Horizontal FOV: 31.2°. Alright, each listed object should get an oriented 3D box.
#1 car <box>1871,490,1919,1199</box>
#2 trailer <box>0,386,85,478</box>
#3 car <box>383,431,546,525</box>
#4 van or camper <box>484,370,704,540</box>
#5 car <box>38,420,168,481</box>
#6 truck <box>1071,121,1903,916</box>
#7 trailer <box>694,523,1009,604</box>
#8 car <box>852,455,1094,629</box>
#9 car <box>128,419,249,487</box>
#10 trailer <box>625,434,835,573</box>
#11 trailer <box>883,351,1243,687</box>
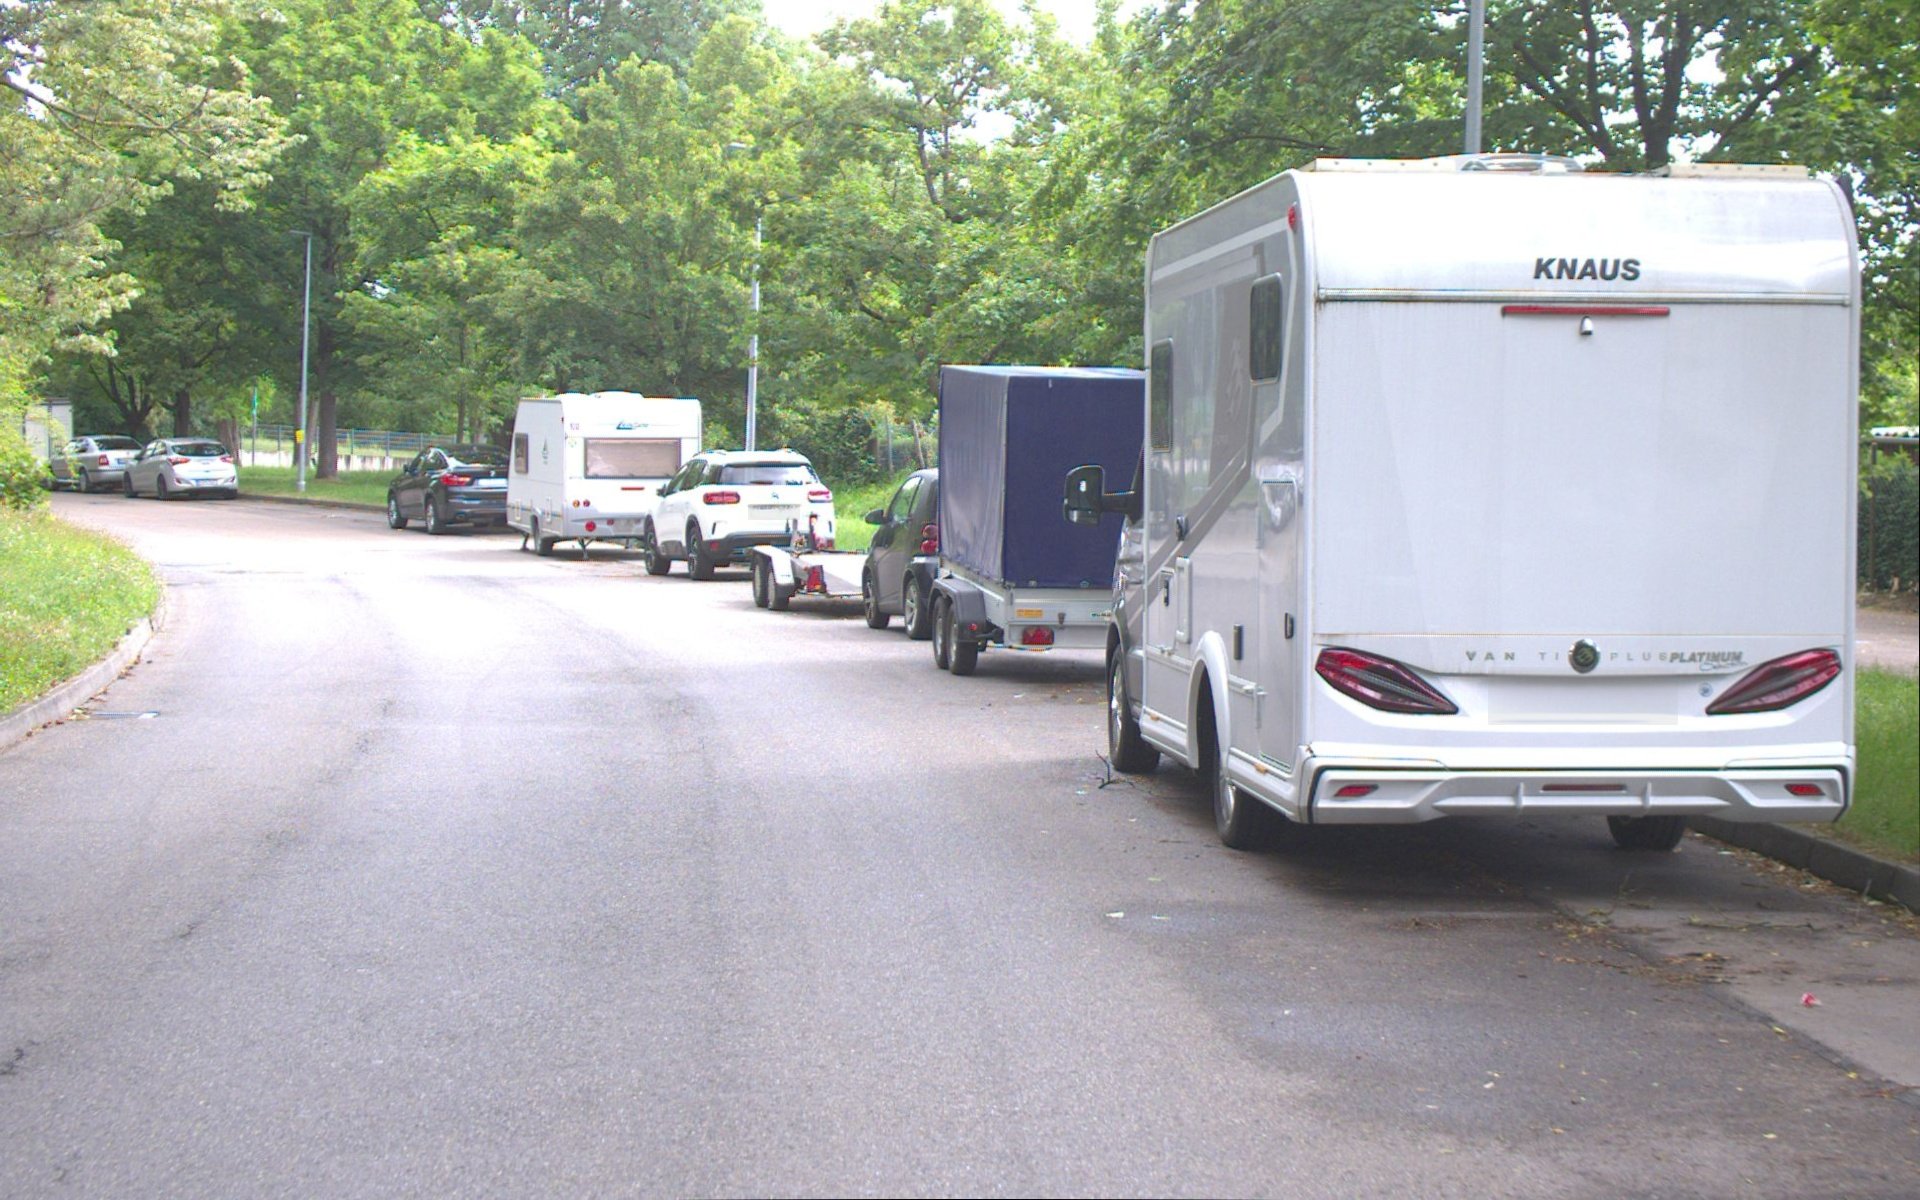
[{"bbox_3d":[2.899,0.610,5.548,1.695,1.542,3.769,1,2,-2],"label":"car"},{"bbox_3d":[-25.183,-4.548,92.743,1.761,2.418,3.887,-2,4,-35],"label":"trailer"},{"bbox_3d":[-9.255,-2.296,63.869,1.848,1.637,4.532,-1,3,-24],"label":"car"},{"bbox_3d":[-5.914,-2.309,54.734,2.160,2.527,6.034,1,2,-19],"label":"van or camper"},{"bbox_3d":[-22.056,-3.854,88.347,1.741,1.519,4.636,-2,4,-34],"label":"car"},{"bbox_3d":[2.069,-0.462,16.234,2.303,2.923,7.035,0,3,-5],"label":"truck"},{"bbox_3d":[-1.325,-0.438,37.773,2.103,0.649,6.404,1,2,-14],"label":"trailer"},{"bbox_3d":[0.070,-0.530,32.157,1.729,1.517,3.406,1,1,-9],"label":"car"},{"bbox_3d":[-18.559,-3.508,82.581,1.902,1.471,4.060,1,1,-27],"label":"car"},{"bbox_3d":[-3.132,-1.311,46.006,1.772,1.724,4.652,-2,2,-17],"label":"trailer"},{"bbox_3d":[0.703,-0.752,27.133,2.106,2.353,4.703,-1,5,-7],"label":"trailer"}]
